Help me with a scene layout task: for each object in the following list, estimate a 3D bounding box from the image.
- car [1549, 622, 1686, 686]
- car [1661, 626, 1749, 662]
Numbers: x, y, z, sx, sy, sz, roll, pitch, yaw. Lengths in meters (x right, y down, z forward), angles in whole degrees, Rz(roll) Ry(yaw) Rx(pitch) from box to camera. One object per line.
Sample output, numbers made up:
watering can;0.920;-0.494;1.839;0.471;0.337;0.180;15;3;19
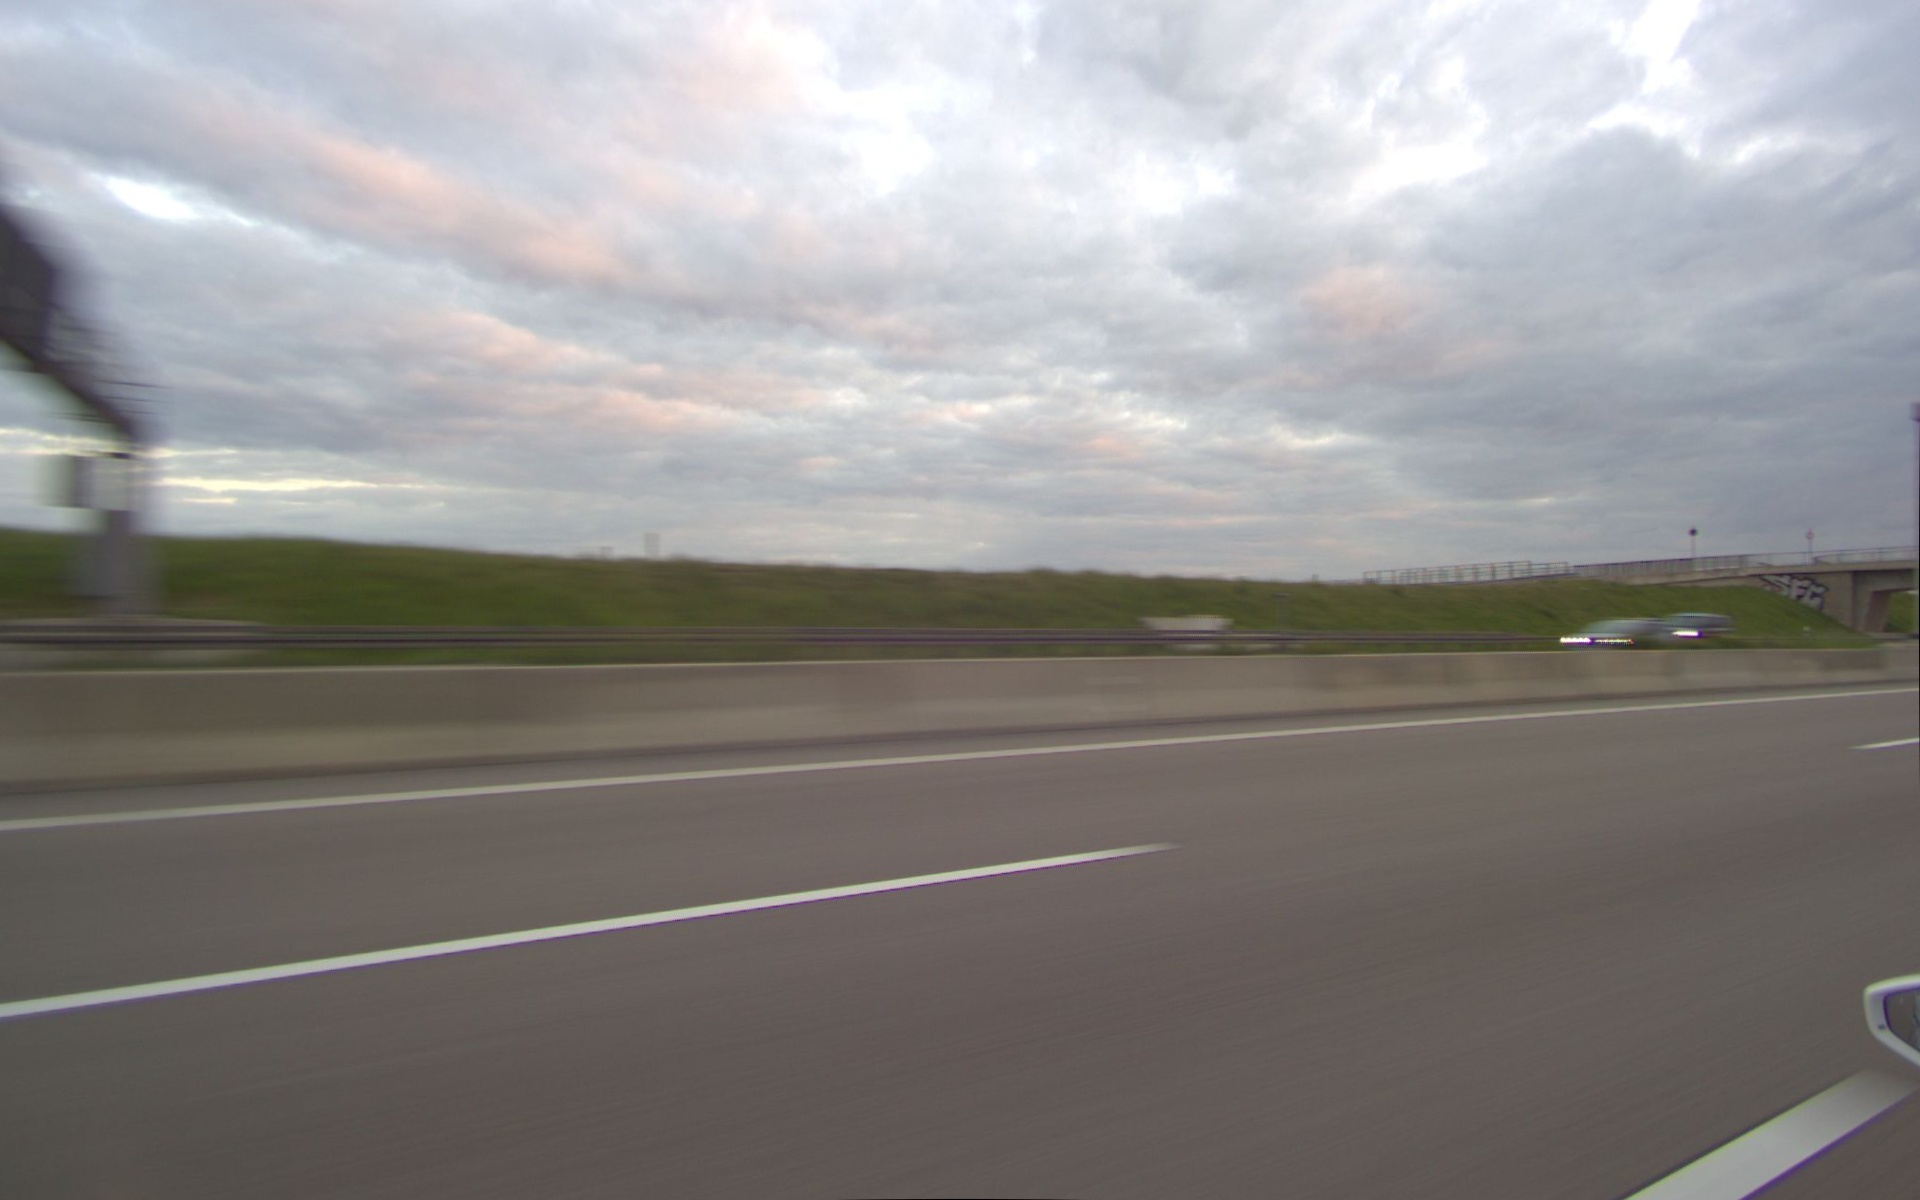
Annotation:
car;22.629;1.822;34.524;4.847;2.040;1.984;2;0;-31
car;33.477;1.972;45.120;3.953;1.478;1.805;2;0;-31
